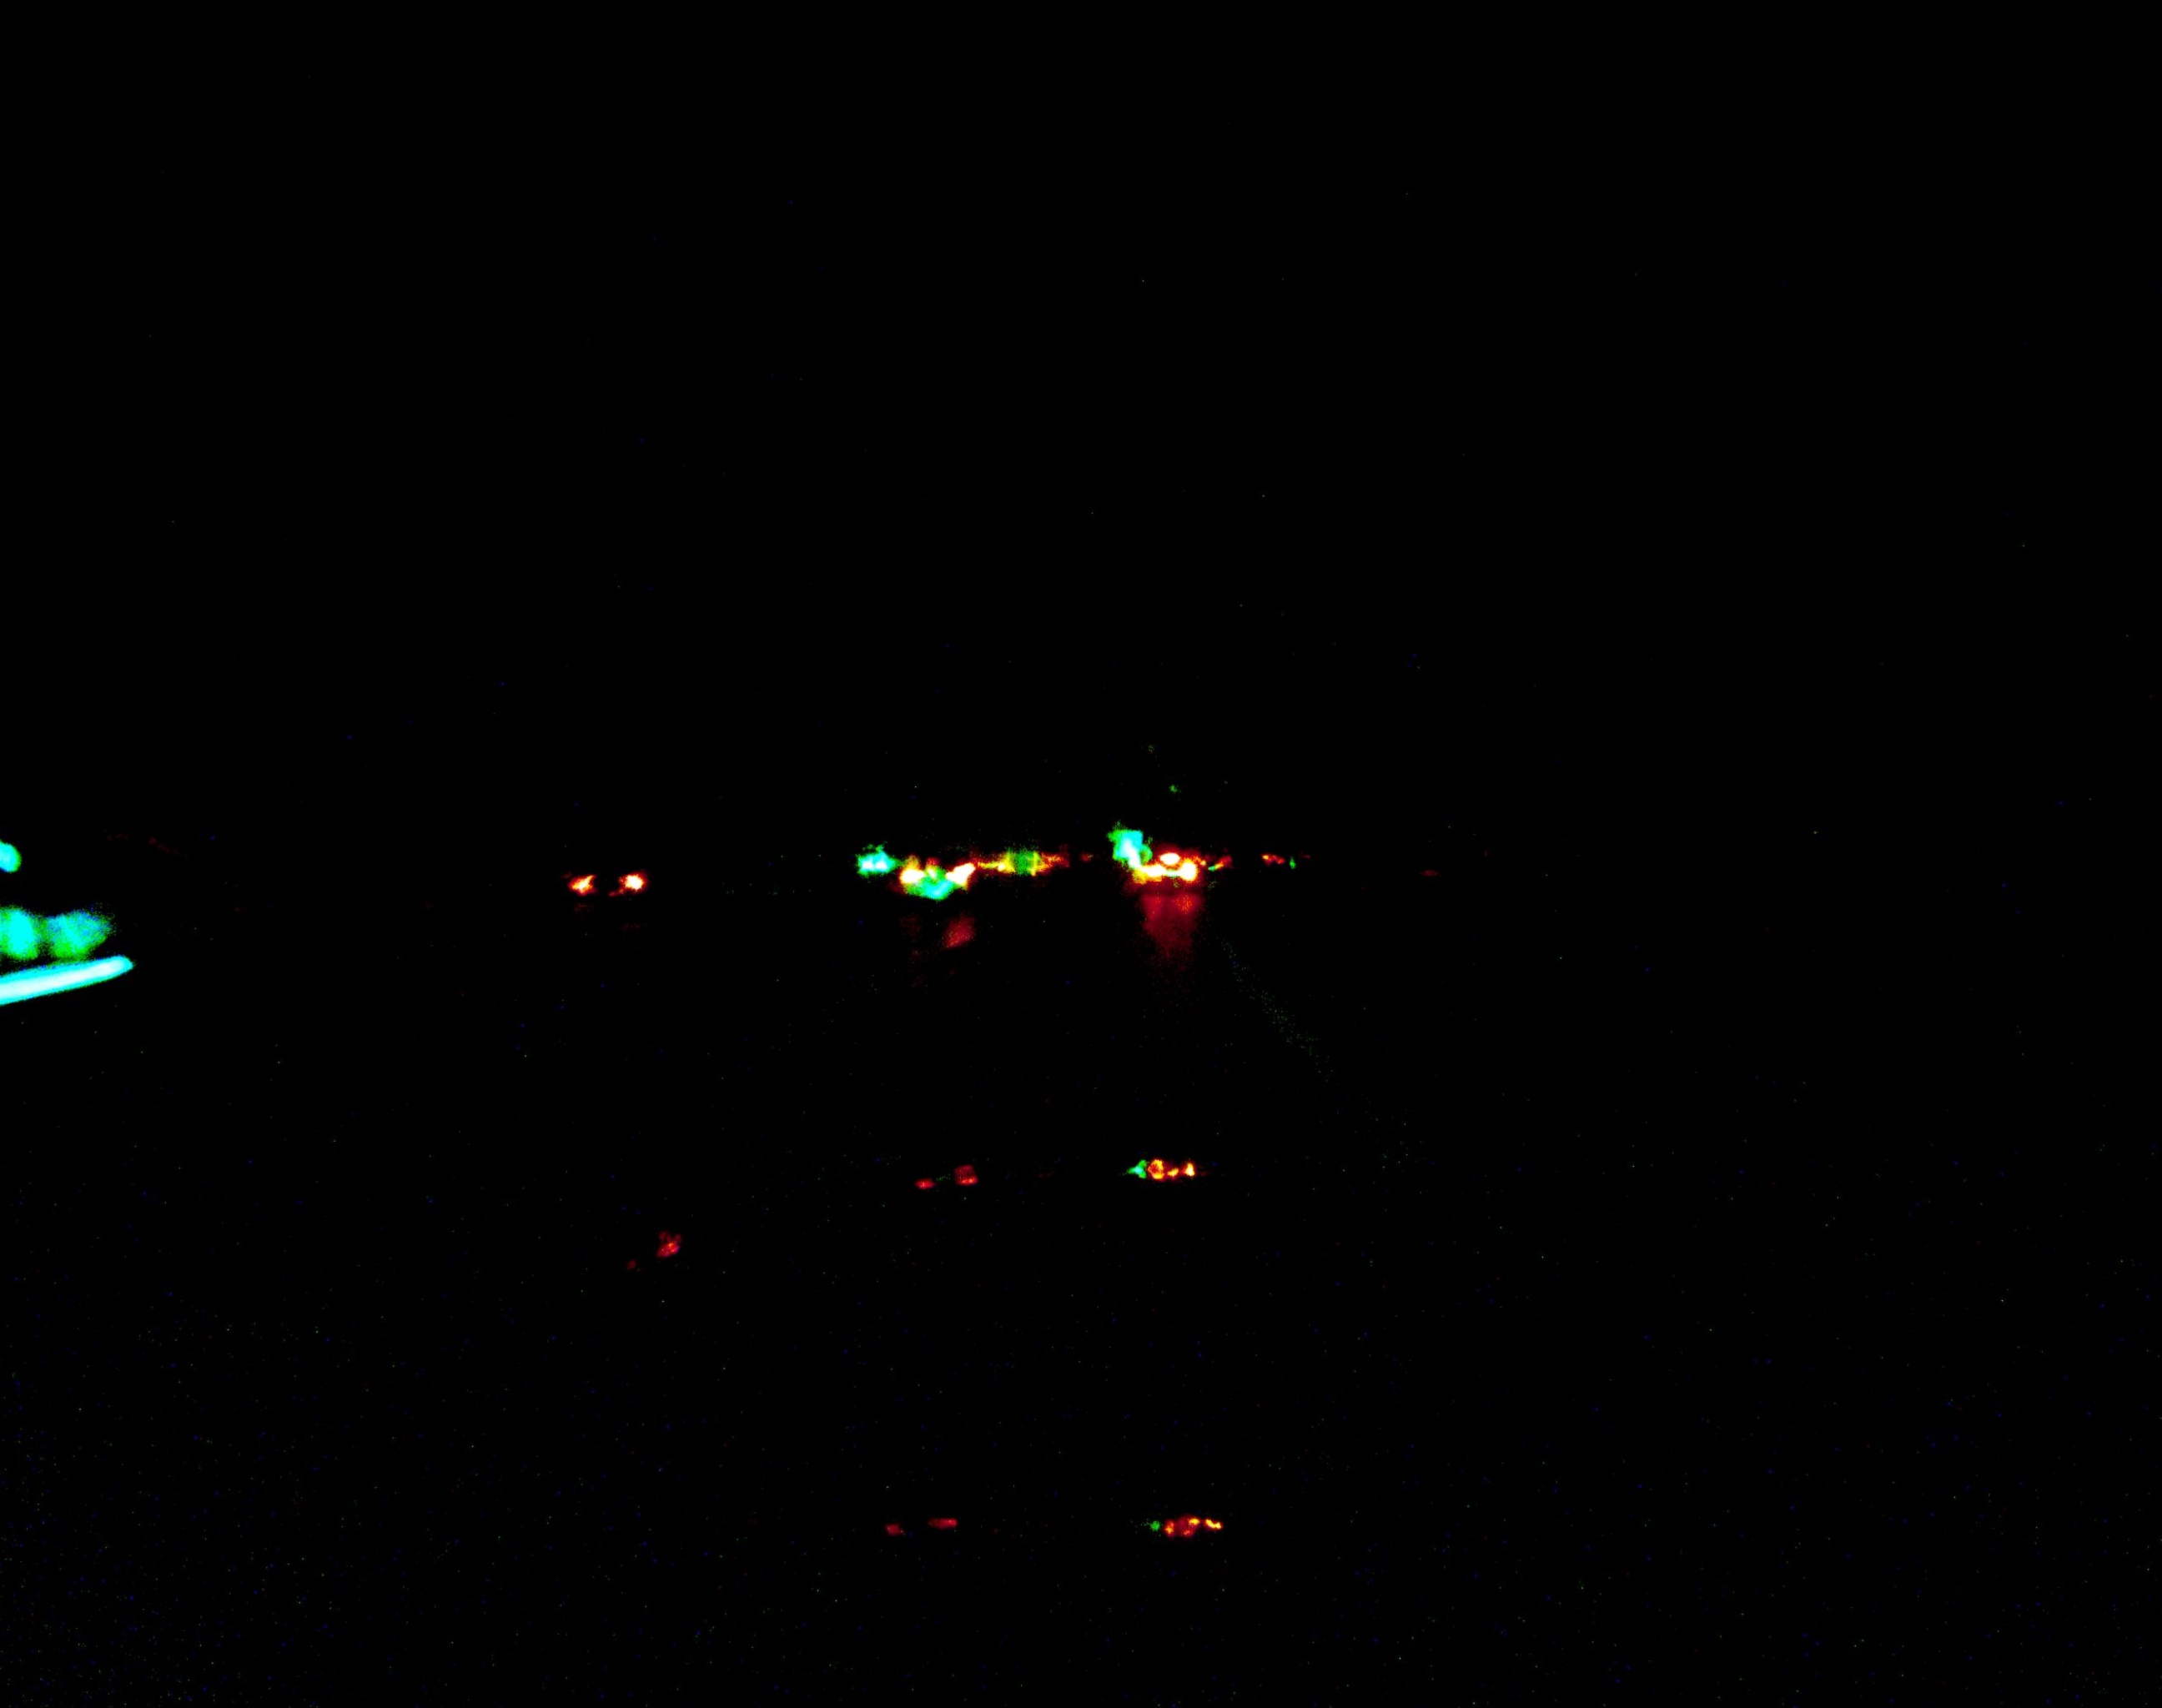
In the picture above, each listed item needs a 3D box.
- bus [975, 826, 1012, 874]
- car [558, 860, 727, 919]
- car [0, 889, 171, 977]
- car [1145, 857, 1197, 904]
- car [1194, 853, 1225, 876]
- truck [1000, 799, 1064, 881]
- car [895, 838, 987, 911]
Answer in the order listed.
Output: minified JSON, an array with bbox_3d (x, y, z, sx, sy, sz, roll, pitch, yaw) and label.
[{"bbox_3d":[-8.514,-0.354,80.683,3.090,4.508,10.900,0,0,-3],"label":"bus"},{"bbox_3d":[-12.212,0.912,23.182,1.987,1.476,5.164,0,0,0],"label":"car"},{"bbox_3d":[-24.596,1.804,19.131,1.897,1.807,4.000,0,0,1],"label":"car"},{"bbox_3d":[3.638,1.044,33.578,1.984,1.807,4.005,0,0,4],"label":"car"},{"bbox_3d":[10.163,0.808,64.259,1.979,1.807,4.016,0,0,15],"label":"car"},{"bbox_3d":[-3.477,-0.926,61.534,4.197,5.648,11.463,0,0,0],"label":"truck"},{"bbox_3d":[-4.104,0.569,24.606,2.120,2.014,4.641,0,0,-2],"label":"car"}]
